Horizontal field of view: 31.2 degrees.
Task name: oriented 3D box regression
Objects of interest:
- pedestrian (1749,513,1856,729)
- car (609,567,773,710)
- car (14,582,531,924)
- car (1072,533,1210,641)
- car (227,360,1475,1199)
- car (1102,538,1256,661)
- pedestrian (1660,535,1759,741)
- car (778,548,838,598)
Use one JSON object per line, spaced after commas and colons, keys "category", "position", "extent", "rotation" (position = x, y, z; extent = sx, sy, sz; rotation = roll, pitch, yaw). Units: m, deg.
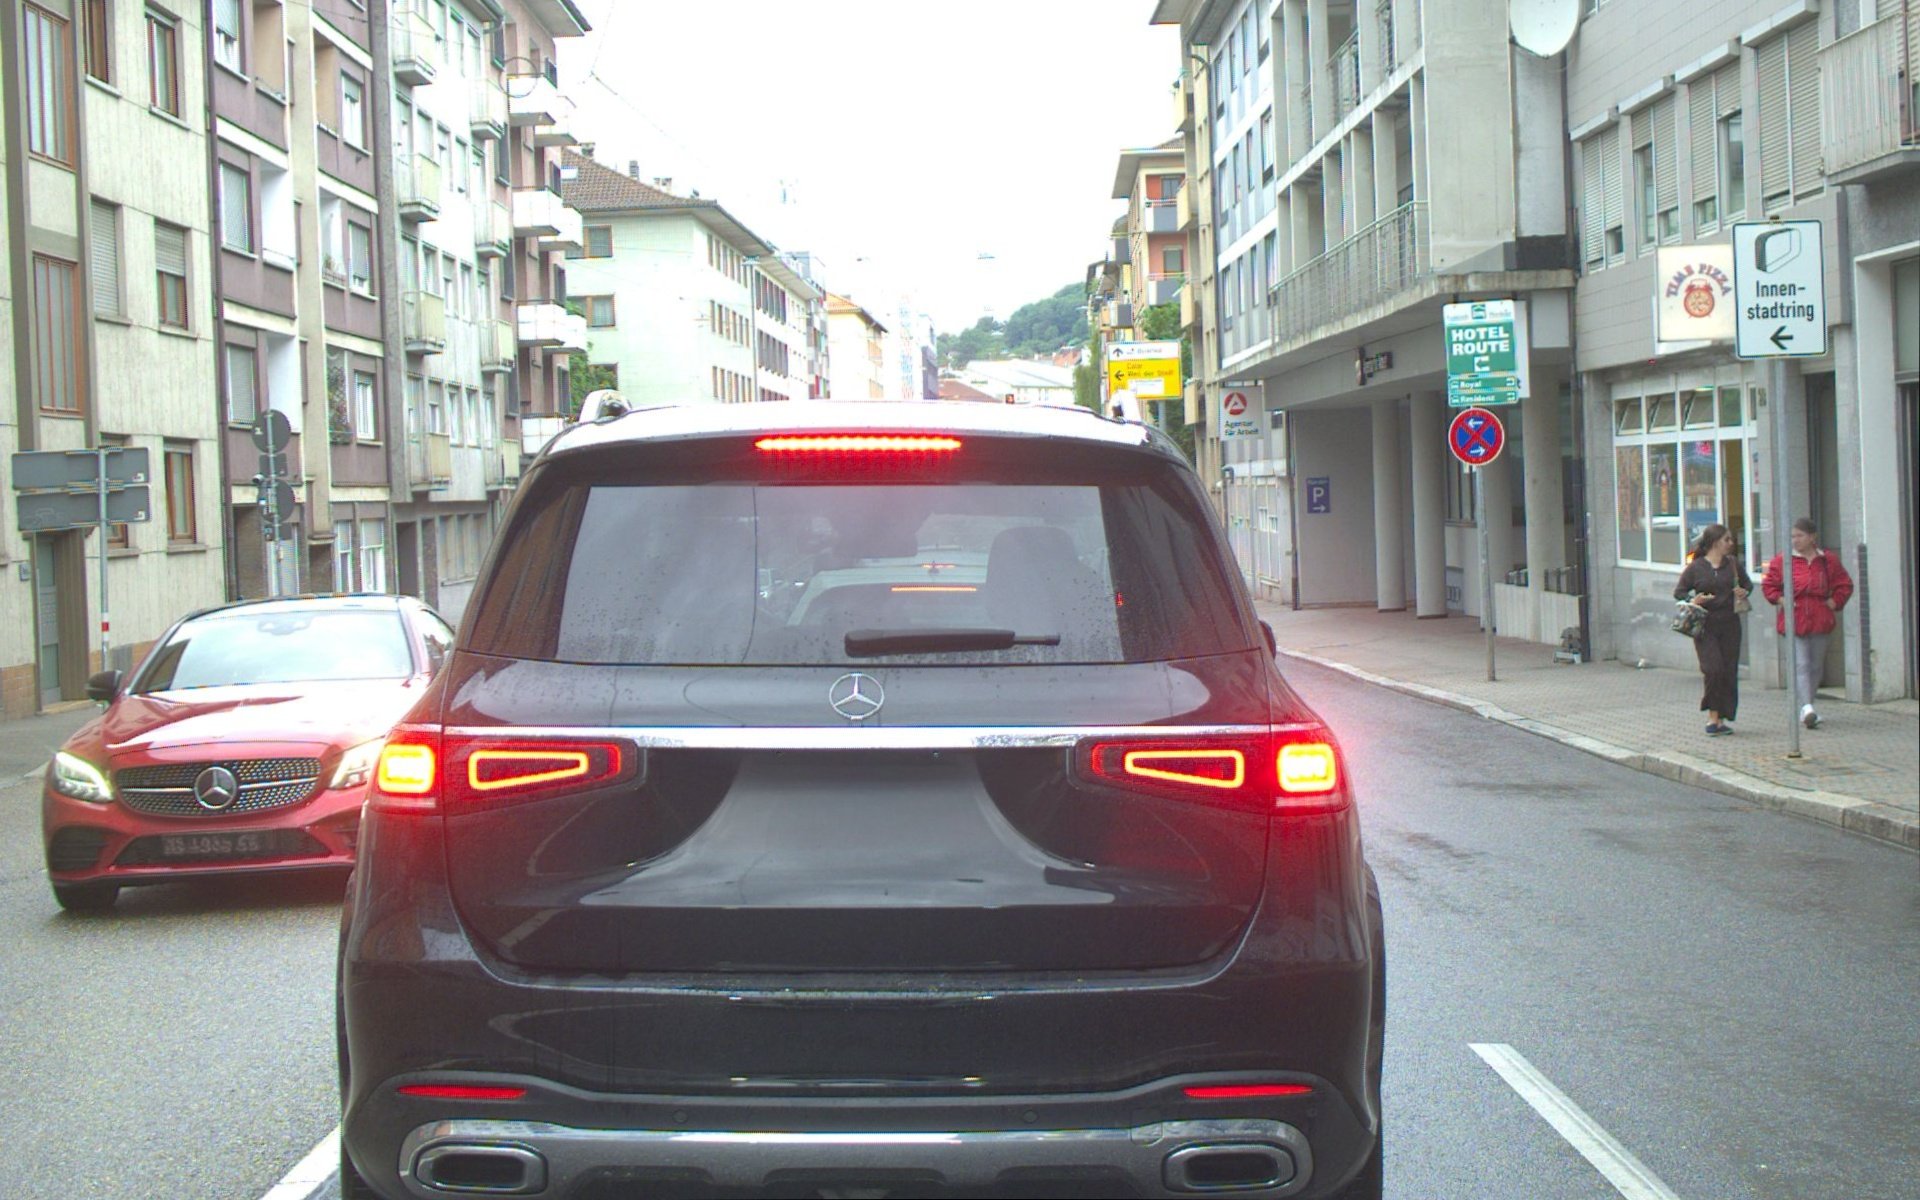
{"category": "pedestrian", "position": [6.352, 0.152, 25.938], "extent": [0.560, 1.573, 0.526], "rotation": [-4, 1, -1]}
{"category": "car", "position": [-3.373, 0.452, 43.749], "extent": [1.732, 1.570, 4.012], "rotation": [-5, 1, -1]}
{"category": "car", "position": [-3.318, 0.666, 17.411], "extent": [1.724, 1.385, 4.339], "rotation": [-3, 1, -1]}
{"category": "car", "position": [3.048, -0.247, 58.749], "extent": [1.940, 1.769, 4.747], "rotation": [0, 1, -2]}
{"category": "car", "position": [-0.221, 0.490, 7.643], "extent": [2.025, 1.799, 4.000], "rotation": [1, 1, -1]}
{"category": "car", "position": [2.916, -0.034, 46.424], "extent": [1.767, 1.575, 4.000], "rotation": [-1, 1, -1]}
{"category": "pedestrian", "position": [5.635, 0.279, 25.863], "extent": [0.506, 1.495, 0.562], "rotation": [-4, 1, -1]}
{"category": "car", "position": [-4.658, -0.840, 105.898], "extent": [1.648, 1.434, 4.125], "rotation": [-3, 1, -1]}
